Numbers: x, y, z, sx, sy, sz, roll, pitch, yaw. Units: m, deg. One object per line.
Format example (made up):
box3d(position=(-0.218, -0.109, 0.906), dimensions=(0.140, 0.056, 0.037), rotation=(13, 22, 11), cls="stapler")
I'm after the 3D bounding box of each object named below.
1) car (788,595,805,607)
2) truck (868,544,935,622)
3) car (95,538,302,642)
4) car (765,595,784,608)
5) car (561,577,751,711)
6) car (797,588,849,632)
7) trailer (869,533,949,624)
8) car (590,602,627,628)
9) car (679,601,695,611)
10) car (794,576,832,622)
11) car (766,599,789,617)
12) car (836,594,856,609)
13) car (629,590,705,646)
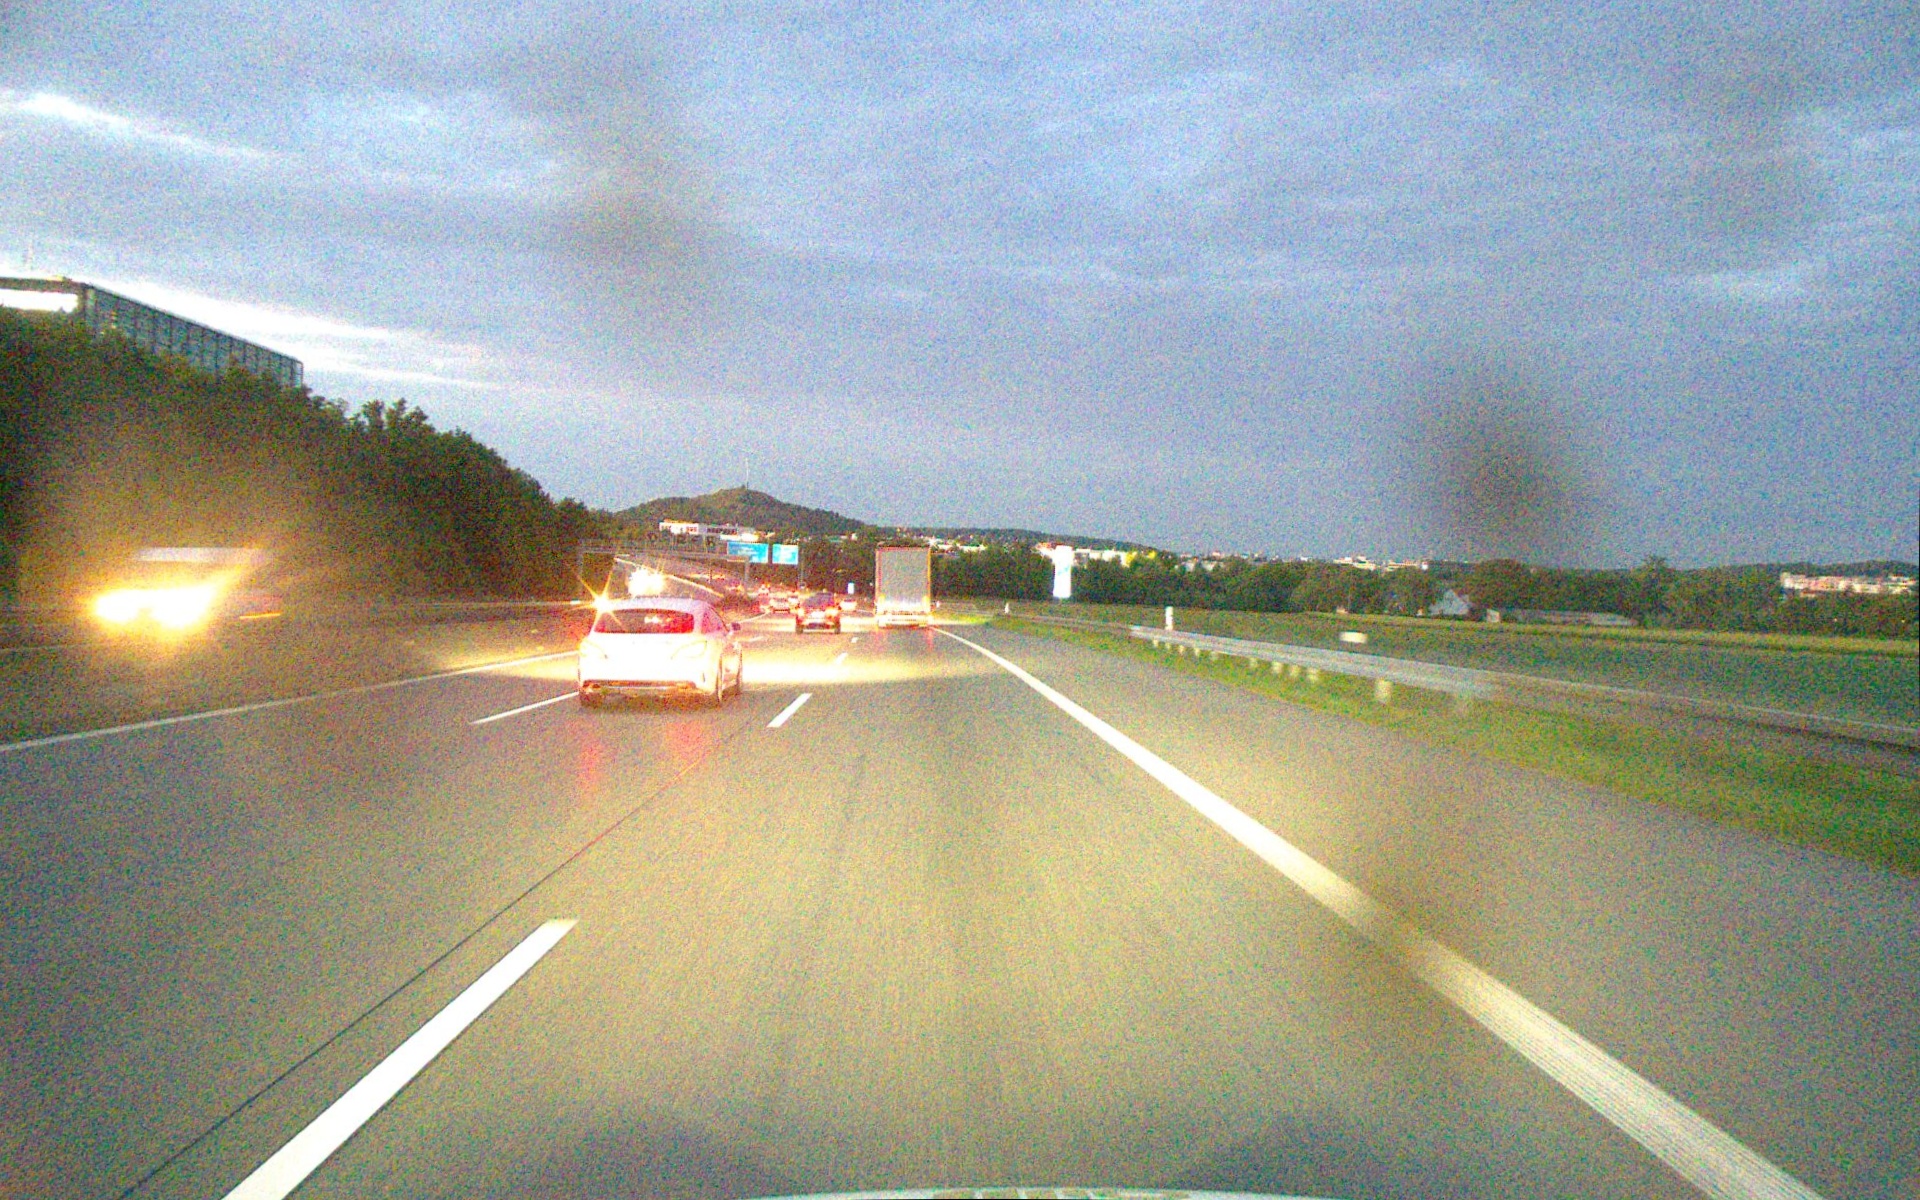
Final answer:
box3d(position=(-23.685, 0.175, 238.899), dimensions=(1.959, 1.650, 3.987), rotation=(1, 0, -13), cls="car")
box3d(position=(-3.337, -0.875, 92.791), dimensions=(3.481, 4.163, 6.145), rotation=(1, -1, -4), cls="truck")
box3d(position=(-19.977, -0.225, 43.870), dimensions=(2.278, 2.474, 7.092), rotation=(1, 0, -1), cls="car")
box3d(position=(-23.313, 0.196, 207.708), dimensions=(1.958, 1.494, 3.989), rotation=(1, 0, -11), cls="car")
box3d(position=(-4.093, 0.563, 23.048), dimensions=(1.868, 1.642, 4.802), rotation=(1, 0, -2), cls="car")
box3d(position=(-5.617, 0.392, 68.070), dimensions=(2.025, 1.715, 4.572), rotation=(1, 0, -5), cls="car")
box3d(position=(-2.815, -0.937, 85.196), dimensions=(3.480, 4.188, 15.049), rotation=(1, -1, -4), cls="trailer")
box3d(position=(-25.980, 1.093, 122.454), dimensions=(1.954, 1.822, 4.837), rotation=(1, 0, -3), cls="car")
box3d(position=(-35.879, 0.784, 217.410), dimensions=(1.799, 1.359, 4.903), rotation=(1, 0, -6), cls="car")
box3d(position=(-7.980, -0.032, 89.640), dimensions=(1.955, 2.422, 3.995), rotation=(1, 0, -6), cls="car")
box3d(position=(-17.400, 0.759, 157.578), dimensions=(1.957, 1.650, 3.991), rotation=(1, 0, -10), cls="car")
box3d(position=(-12.168, 0.159, 176.029), dimensions=(1.955, 1.561, 3.994), rotation=(1, 0, -6), cls="car")
box3d(position=(-8.875, 0.532, 50.345), dimensions=(1.727, 1.602, 4.573), rotation=(1, 0, -3), cls="car")
